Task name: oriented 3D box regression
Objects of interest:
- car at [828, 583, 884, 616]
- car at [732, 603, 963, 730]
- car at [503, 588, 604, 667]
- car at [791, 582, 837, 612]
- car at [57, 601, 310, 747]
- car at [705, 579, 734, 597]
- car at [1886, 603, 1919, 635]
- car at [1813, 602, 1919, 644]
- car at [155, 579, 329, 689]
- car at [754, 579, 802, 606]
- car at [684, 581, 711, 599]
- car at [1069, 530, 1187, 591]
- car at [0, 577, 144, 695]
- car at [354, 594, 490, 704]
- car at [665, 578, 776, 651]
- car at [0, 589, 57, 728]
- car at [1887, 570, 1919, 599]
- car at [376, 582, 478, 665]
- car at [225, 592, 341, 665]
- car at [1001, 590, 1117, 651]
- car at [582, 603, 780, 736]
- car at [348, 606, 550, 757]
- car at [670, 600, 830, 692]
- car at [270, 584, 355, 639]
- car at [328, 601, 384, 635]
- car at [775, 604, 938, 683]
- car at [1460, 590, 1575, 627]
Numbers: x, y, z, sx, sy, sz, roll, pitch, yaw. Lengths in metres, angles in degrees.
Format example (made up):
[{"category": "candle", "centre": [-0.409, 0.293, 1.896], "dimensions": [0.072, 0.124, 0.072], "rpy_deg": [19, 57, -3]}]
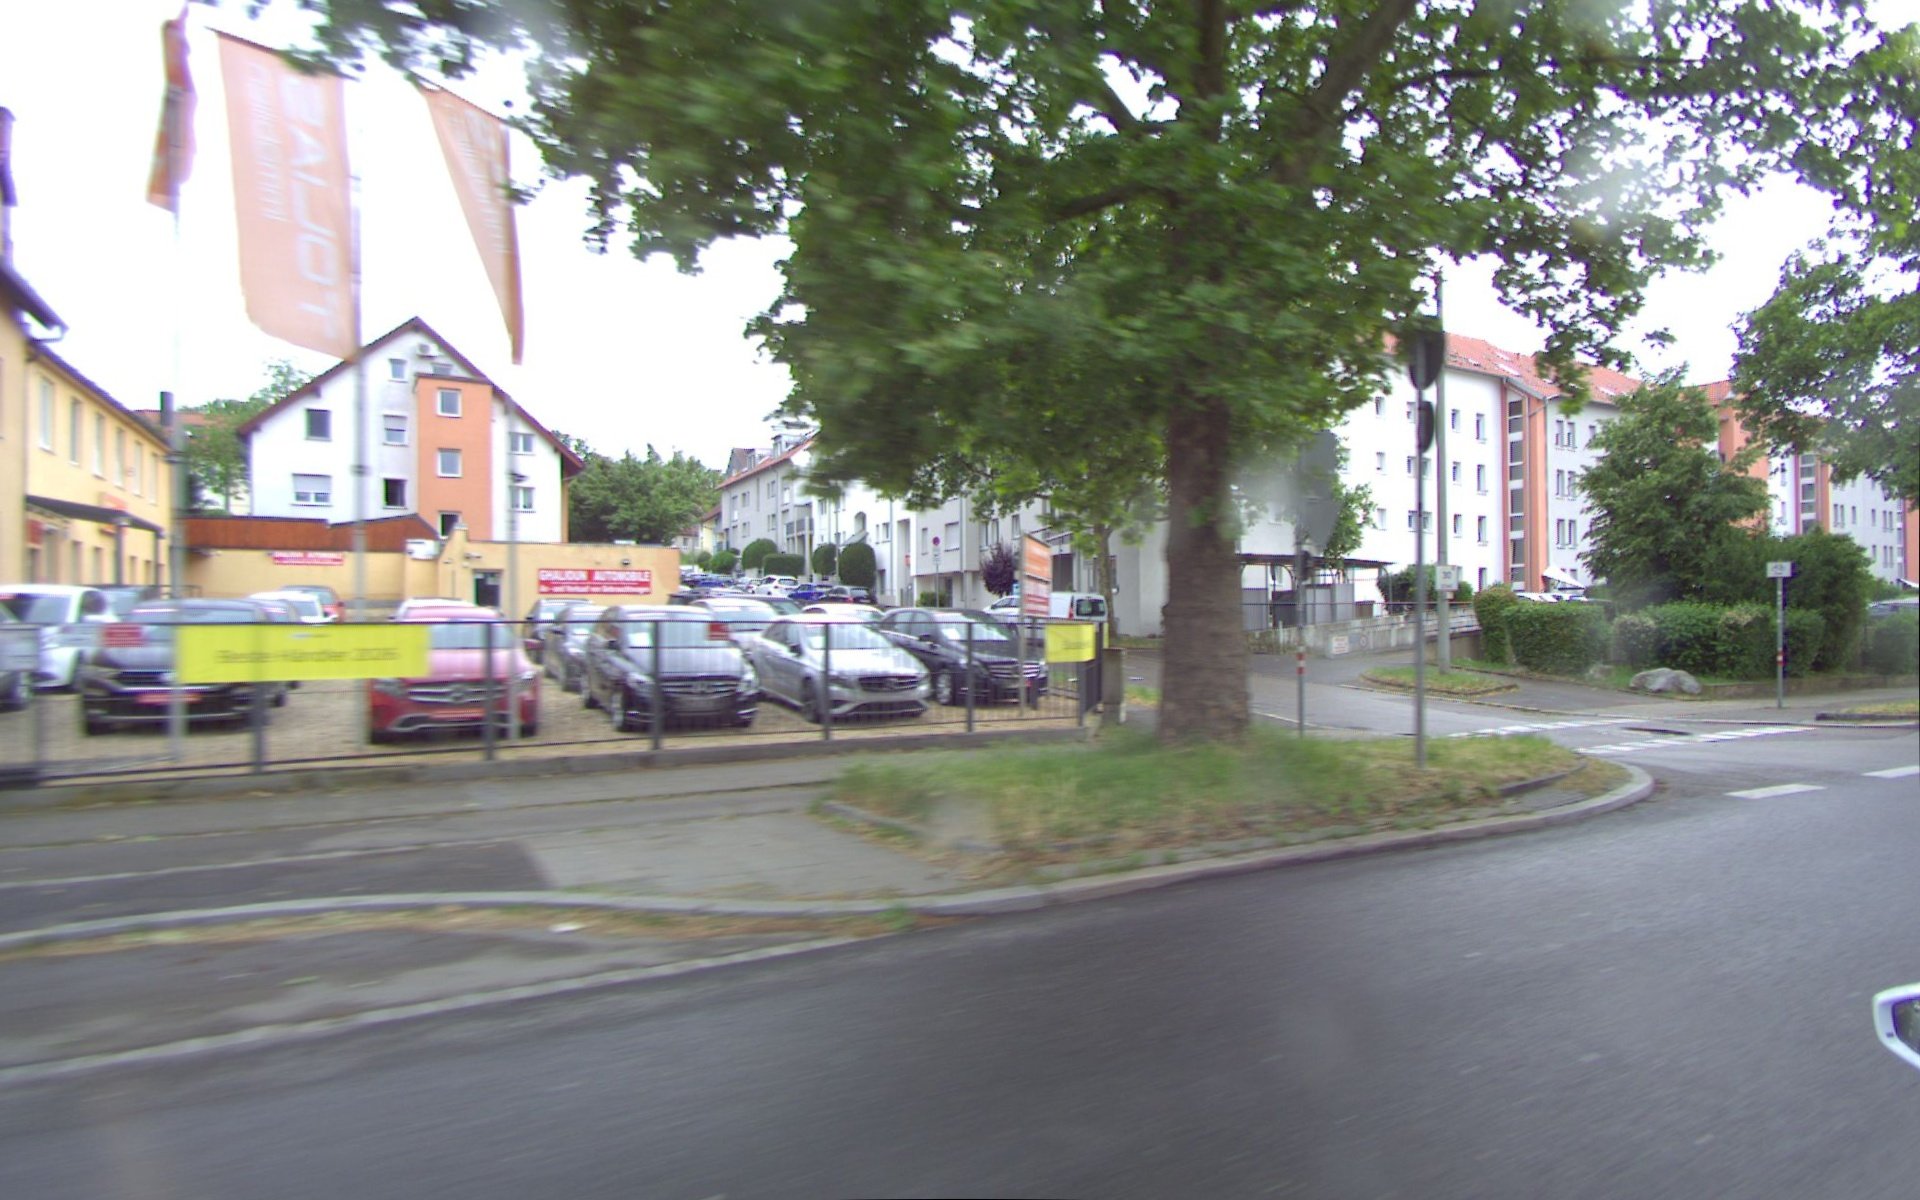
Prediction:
[{"category": "car", "centre": [-4.955, -0.046, 47.606], "dimensions": [1.551, 1.424, 2.951], "rpy_deg": [3, 0, -29]}, {"category": "car", "centre": [-1.893, 0.922, 15.567], "dimensions": [1.960, 1.559, 4.185], "rpy_deg": [3, 0, -31]}, {"category": "car", "centre": [-9.897, 0.611, 24.272], "dimensions": [1.863, 1.706, 3.971], "rpy_deg": [3, -1, -27]}, {"category": "car", "centre": [-7.593, -0.177, 52.048], "dimensions": [1.375, 1.424, 2.951], "rpy_deg": [3, 0, -29]}, {"category": "car", "centre": [-9.767, 0.818, 12.994], "dimensions": [1.862, 1.484, 3.971], "rpy_deg": [1, 0, -27]}, {"category": "car", "centre": [-16.017, -0.804, 66.846], "dimensions": [1.226, 1.137, 2.487], "rpy_deg": [3, 0, -29]}, {"category": "car", "centre": [42.488, 0.870, 42.808], "dimensions": [1.788, 1.320, 4.069], "rpy_deg": [3, -1, -29]}, {"category": "car", "centre": [36.202, 0.908, 39.533], "dimensions": [1.877, 1.518, 3.631], "rpy_deg": [3, -1, -33]}, {"category": "car", "centre": [-12.485, 0.546, 17.729], "dimensions": [1.863, 1.706, 3.971], "rpy_deg": [3, -1, -27]}, {"category": "car", "centre": [-10.264, -0.430, 56.532], "dimensions": [1.551, 1.424, 3.441], "rpy_deg": [3, 0, -29]}, {"category": "car", "centre": [-18.626, -0.709, 71.301], "dimensions": [1.226, 1.206, 2.487], "rpy_deg": [3, 0, -29]}, {"category": "car", "centre": [5.801, -1.348, 35.087], "dimensions": [1.859, 1.801, 3.968], "rpy_deg": [7, -2, -30]}, {"category": "car", "centre": [-14.586, 0.489, 15.968], "dimensions": [1.714, 1.636, 3.834], "rpy_deg": [1, 1, -27]}, {"category": "car", "centre": [-9.526, 0.787, 17.910], "dimensions": [1.863, 1.706, 3.971], "rpy_deg": [3, -1, -27]}, {"category": "car", "centre": [-6.299, 0.351, 26.138], "dimensions": [1.863, 1.706, 3.971], "rpy_deg": [3, -1, -27]}, {"category": "car", "centre": [-12.227, 0.702, 11.545], "dimensions": [1.760, 1.636, 3.971], "rpy_deg": [1, 1, -27]}, {"category": "car", "centre": [57.131, -0.910, 58.875], "dimensions": [1.699, 1.623, 3.790], "rpy_deg": [3, -1, -31]}, {"category": "car", "centre": [-12.270, 0.500, 23.229], "dimensions": [1.863, 1.706, 3.971], "rpy_deg": [3, -1, -27]}, {"category": "car", "centre": [-15.126, 0.600, 22.619], "dimensions": [1.683, 1.470, 3.789], "rpy_deg": [3, -1, -27]}, {"category": "car", "centre": [3.244, 0.663, 33.713], "dimensions": [1.858, 1.802, 3.968], "rpy_deg": [3, 0, -30]}, {"category": "car", "centre": [-4.054, 0.862, 14.079], "dimensions": [1.973, 1.559, 4.194], "rpy_deg": [1, -1, -26]}, {"category": "car", "centre": [-6.438, 0.880, 12.736], "dimensions": [1.933, 1.518, 4.082], "rpy_deg": [1, 0, -27]}, {"category": "car", "centre": [-4.371, 0.869, 20.433], "dimensions": [1.977, 1.675, 3.967], "rpy_deg": [3, -1, -31]}, {"category": "car", "centre": [-17.585, 0.298, 27.405], "dimensions": [1.564, 1.371, 3.412], "rpy_deg": [3, -1, -27]}, {"category": "car", "centre": [-21.506, 0.613, 35.825], "dimensions": [1.445, 1.062, 2.916], "rpy_deg": [4, -1, -27]}, {"category": "car", "centre": [-2.371, 0.905, 22.014], "dimensions": [1.977, 1.516, 4.146], "rpy_deg": [3, -1, -31]}, {"category": "car", "centre": [24.045, 0.341, 43.456], "dimensions": [1.825, 1.433, 3.972], "rpy_deg": [3, -1, -27]}]
